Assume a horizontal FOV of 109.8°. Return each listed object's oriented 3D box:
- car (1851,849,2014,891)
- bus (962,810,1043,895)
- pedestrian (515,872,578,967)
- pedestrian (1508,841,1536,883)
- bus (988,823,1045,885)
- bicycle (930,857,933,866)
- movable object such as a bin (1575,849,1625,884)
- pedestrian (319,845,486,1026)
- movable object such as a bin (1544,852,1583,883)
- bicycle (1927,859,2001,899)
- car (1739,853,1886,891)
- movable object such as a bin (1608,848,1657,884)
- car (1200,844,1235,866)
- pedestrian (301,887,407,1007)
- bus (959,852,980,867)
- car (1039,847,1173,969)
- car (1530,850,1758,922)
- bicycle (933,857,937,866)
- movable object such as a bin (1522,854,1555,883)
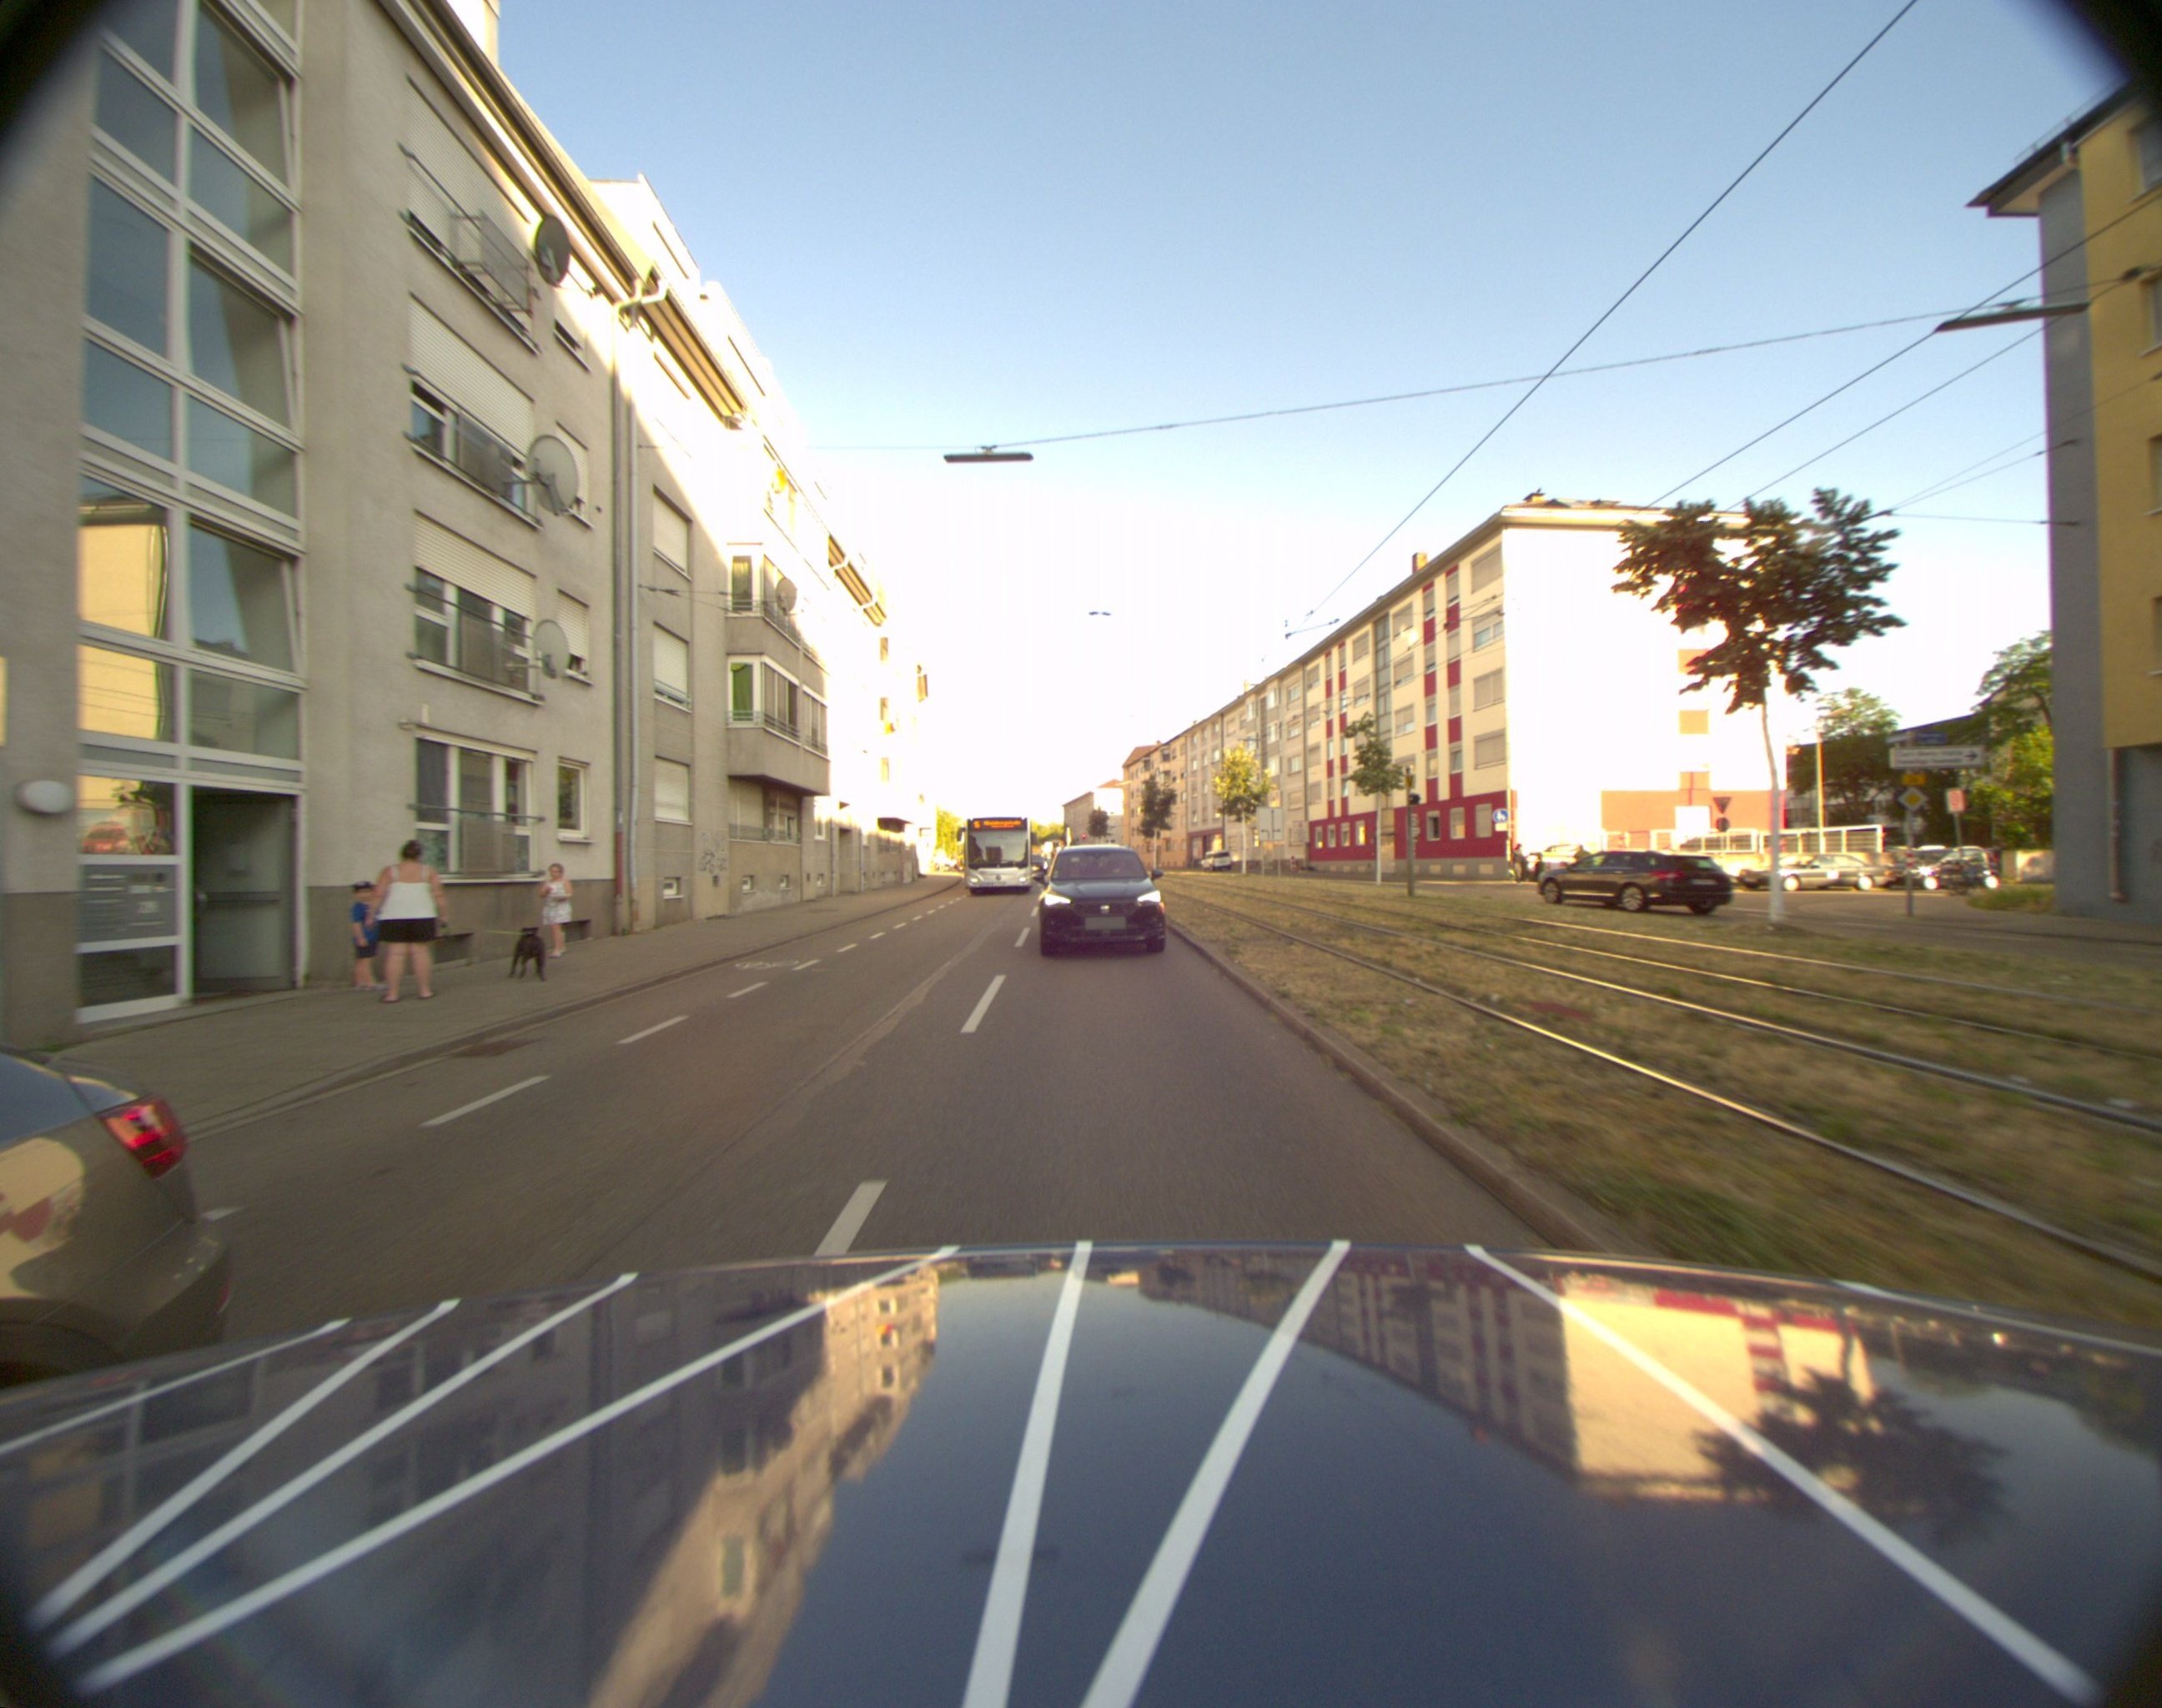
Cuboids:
[{"bbox_3d":[31.737,0.574,28.404,3.997,1.499,1.899,0,0,-1],"label":"car"},{"bbox_3d":[-3.158,-0.027,33.238,2.732,3.059,10.598,-2,0,-2],"label":"bus"},{"bbox_3d":[-7.798,0.938,11.110,0.515,1.336,0.609,1,1,-4],"label":"pedestrian"},{"bbox_3d":[18.172,0.334,31.320,0.615,1.679,0.791,-1,0,-5],"label":"pedestrian"},{"bbox_3d":[-3.523,0.017,43.843,2.713,3.059,10.598,-2,0,-2],"label":"bus"},{"bbox_3d":[-16.420,0.869,83.506,0.279,0.965,1.728,3,-1,-11],"label":"bicycle"},{"bbox_3d":[21.142,0.486,30.970,1.220,1.407,1.138,0,1,-4],"label":"movable object such as a bin"},{"bbox_3d":[-7.007,0.798,7.908,0.832,1.761,0.996,0,0,0],"label":"pedestrian"},{"bbox_3d":[20.630,0.566,32.522,1.161,1.278,0.806,0,1,-4],"label":"movable object such as a bin"},{"bbox_3d":[24.845,0.683,21.373,1.962,1.069,0.602,0,1,-17],"label":"bicycle"},{"bbox_3d":[26.821,0.641,27.922,3.873,1.286,1.701,-1,0,-3],"label":"car"},{"bbox_3d":[22.537,0.480,31.066,1.220,1.407,1.107,0,1,-4],"label":"movable object such as a bin"},{"bbox_3d":[12.386,0.090,69.203,1.872,1.818,4.418,-2,0,-8],"label":"car"},{"bbox_3d":[-7.922,0.996,8.305,0.589,1.244,0.584,0,0,0],"label":"pedestrian"},{"bbox_3d":[-23.424,1.096,158.512,3.878,2.835,13.816,-2,0,-10],"label":"bus"},{"bbox_3d":[0.312,0.759,12.492,1.788,1.614,4.216,-2,-1,-1],"label":"car"},{"bbox_3d":[13.455,0.684,18.638,1.798,1.460,4.794,2,1,-3],"label":"car"},{"bbox_3d":[-16.061,0.833,83.681,0.361,1.026,1.728,3,-1,-11],"label":"bicycle"},{"bbox_3d":[19.514,0.602,32.420,0.868,1.219,0.806,0,1,-4],"label":"movable object such as a bin"}]
